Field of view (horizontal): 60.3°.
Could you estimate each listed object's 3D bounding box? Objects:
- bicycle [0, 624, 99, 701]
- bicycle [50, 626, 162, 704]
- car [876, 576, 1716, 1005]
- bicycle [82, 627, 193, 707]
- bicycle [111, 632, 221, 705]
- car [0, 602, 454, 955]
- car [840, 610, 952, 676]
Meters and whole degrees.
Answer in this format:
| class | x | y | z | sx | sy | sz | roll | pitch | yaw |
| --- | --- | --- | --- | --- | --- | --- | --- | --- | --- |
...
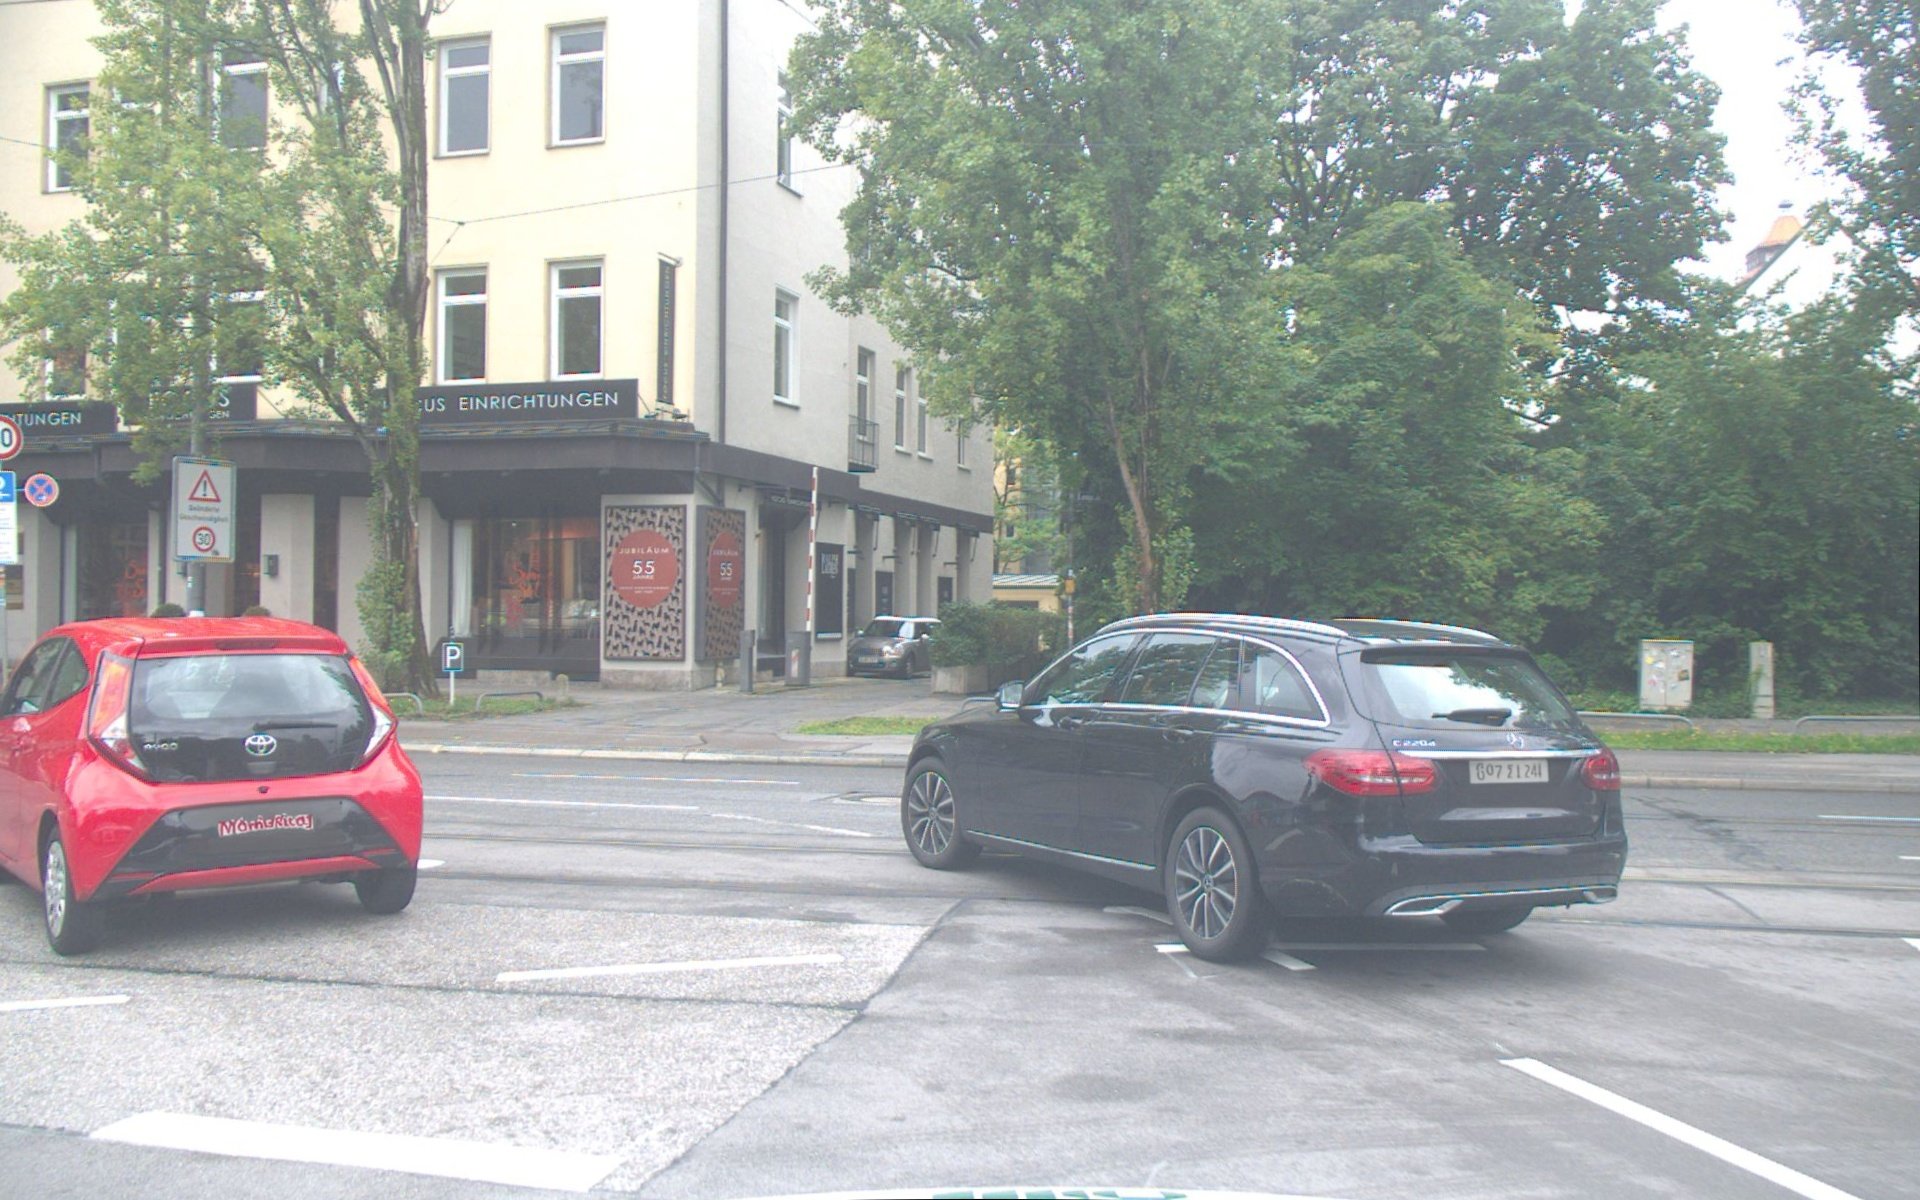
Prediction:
| class | x | y | z | sx | sy | sz | roll | pitch | yaw |
| --- | --- | --- | --- | --- | --- | --- | --- | --- | --- |
| bicycle | -15.071 | 1.010 | 27.187 | 0.484 | 1.206 | 1.890 | 0 | 0 | 14 |
| bicycle | -13.802 | 1.027 | 26.797 | 0.484 | 1.206 | 1.890 | 0 | 0 | 14 |
| car | 1.323 | 0.691 | 8.606 | 1.841 | 1.576 | 4.664 | 1 | 0 | -26 |
| bicycle | -13.167 | 1.048 | 26.525 | 0.484 | 1.206 | 1.890 | 0 | 0 | 14 |
| bicycle | -12.660 | 1.073 | 26.427 | 0.484 | 1.101 | 1.890 | 0 | 0 | 14 |
| car | -4.107 | 0.789 | 8.710 | 1.618 | 1.465 | 3.328 | 2 | -2 | -39 |
| car | -1.465 | 0.982 | 39.524 | 1.688 | 1.467 | 4.003 | 0 | 0 | 13 |
